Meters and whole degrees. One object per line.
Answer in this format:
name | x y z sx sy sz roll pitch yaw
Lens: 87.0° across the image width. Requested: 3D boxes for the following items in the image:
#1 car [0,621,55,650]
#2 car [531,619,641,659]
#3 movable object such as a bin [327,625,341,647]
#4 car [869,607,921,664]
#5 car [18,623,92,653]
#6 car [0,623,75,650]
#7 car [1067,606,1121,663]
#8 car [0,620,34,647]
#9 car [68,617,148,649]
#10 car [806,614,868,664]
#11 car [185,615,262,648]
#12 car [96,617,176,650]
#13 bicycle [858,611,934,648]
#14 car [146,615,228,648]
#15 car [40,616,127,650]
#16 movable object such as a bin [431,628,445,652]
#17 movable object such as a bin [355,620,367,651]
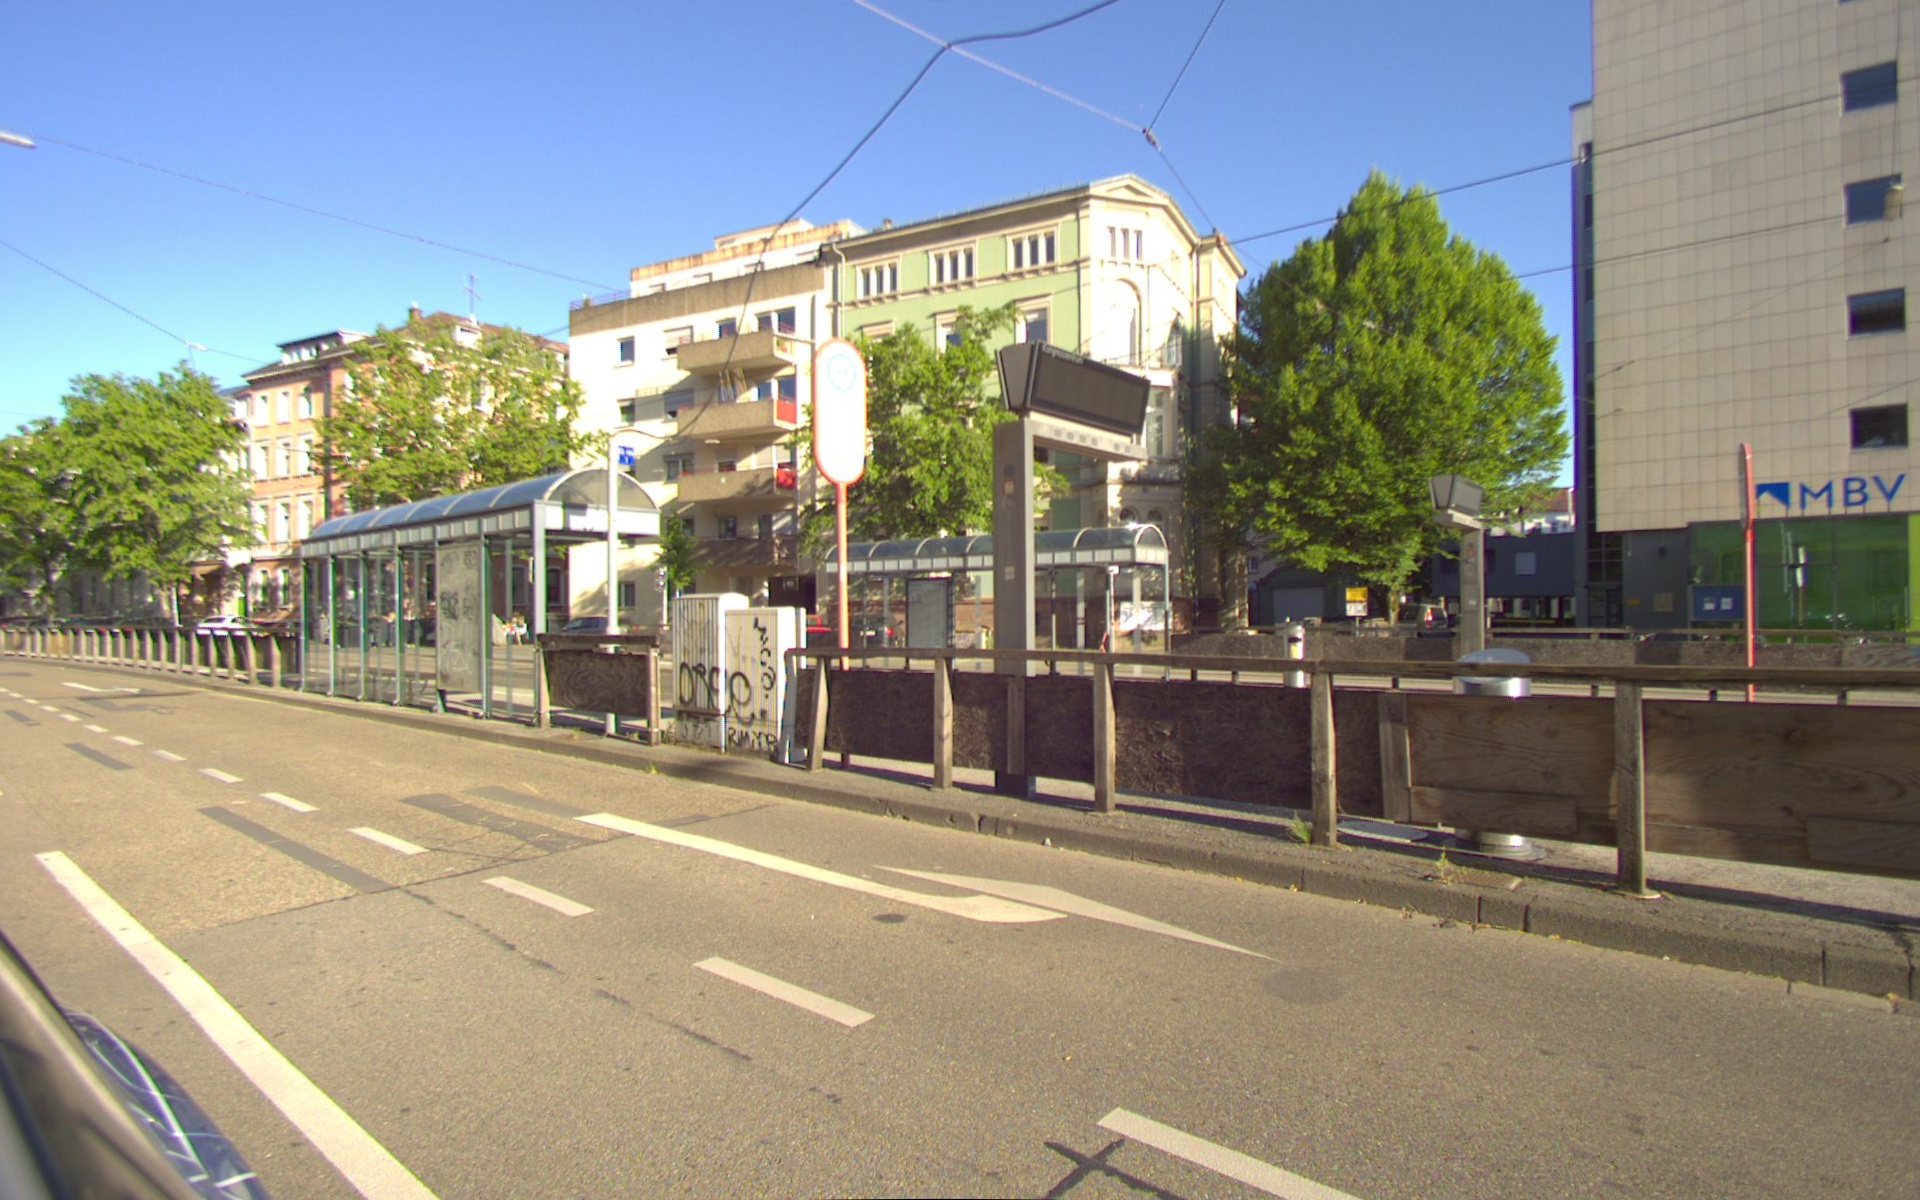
car | -60.752 2.239 65.026 1.748 1.666 3.871 0 1 -1
car | -14.301 1.462 38.635 4.278 1.421 1.693 -1 -1 32
movable object such as a bin | -29.938 1.718 48.390 0.639 1.076 0.375 -1 -1 40
car | -2.170 1.090 32.921 1.566 1.654 4.521 0 1 -5
car | -55.678 2.308 62.309 1.682 1.544 3.284 -2 2 -3
car | -58.440 2.280 63.917 1.745 1.496 3.823 0 1 -1
car | 4.226 1.020 31.788 1.572 1.581 4.504 0 1 8
car | -63.544 2.242 66.615 1.748 1.666 3.872 0 1 -1
car | -49.395 1.871 58.769 1.609 1.629 3.993 -1 1 -7
car | -4.001 1.237 33.477 1.845 1.436 4.521 0 1 -5
car | -39.511 1.669 54.415 1.708 1.533 3.924 -2 1 -9
car | -46.866 1.892 57.653 1.609 1.629 3.993 -2 1 -7
bicycle | -2.513 1.132 39.377 2.995 1.409 0.713 -1 -1 27
car | -42.431 1.715 55.654 1.664 1.519 3.926 -2 1 -3
car | -52.584 1.954 60.844 1.682 1.735 4.291 0 2 -4
movable object such as a bin | -25.024 1.920 48.483 0.551 1.105 0.376 1 0 34
movable object such as a bin | -28.538 1.683 48.211 0.385 1.437 0.375 -1 -1 40
